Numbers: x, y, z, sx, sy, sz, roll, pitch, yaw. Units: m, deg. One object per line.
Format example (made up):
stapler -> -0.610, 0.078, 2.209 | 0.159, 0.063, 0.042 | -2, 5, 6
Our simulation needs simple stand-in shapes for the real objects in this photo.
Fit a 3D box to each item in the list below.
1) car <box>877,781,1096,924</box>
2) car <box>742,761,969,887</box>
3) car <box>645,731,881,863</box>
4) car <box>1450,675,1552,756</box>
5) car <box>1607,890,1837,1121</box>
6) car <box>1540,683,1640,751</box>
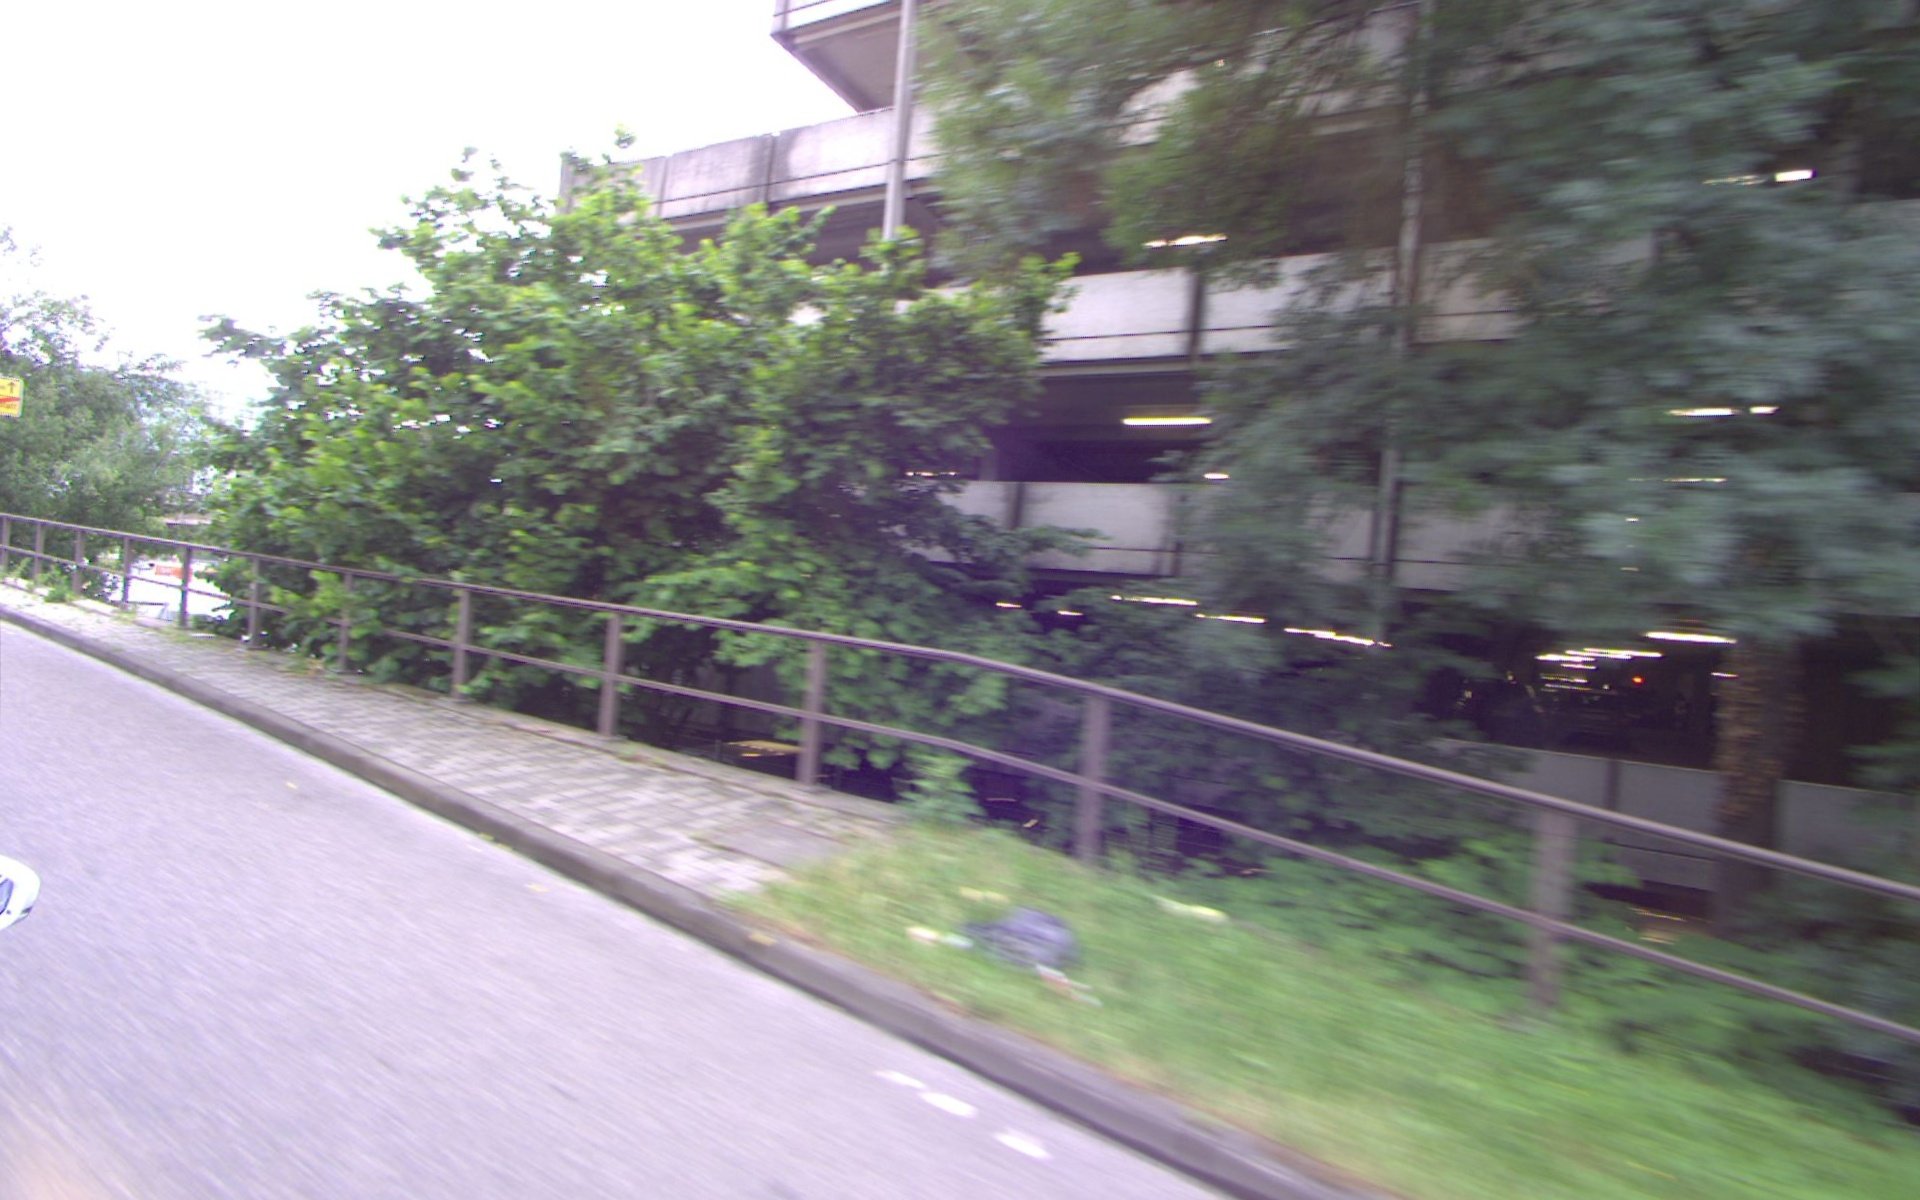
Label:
car -> 0.643, 4.255, 17.649 | 1.965, 1.446, 4.662 | 4, -2, 27
car -> -1.777, 4.049, 18.909 | 1.965, 1.446, 4.662 | 4, -2, 27
car -> -3.715, 3.739, 19.929 | 1.965, 1.806, 4.756 | 5, -2, 27
car -> 12.460, 2.583, 23.290 | 1.844, 1.497, 3.995 | 4, -2, 27
car -> 9.404, 4.897, 12.694 | 1.635, 1.530, 3.392 | 4, -2, 27
car -> 16.664, 3.039, 26.764 | 1.688, 1.438, 3.679 | 7, -1, 26
